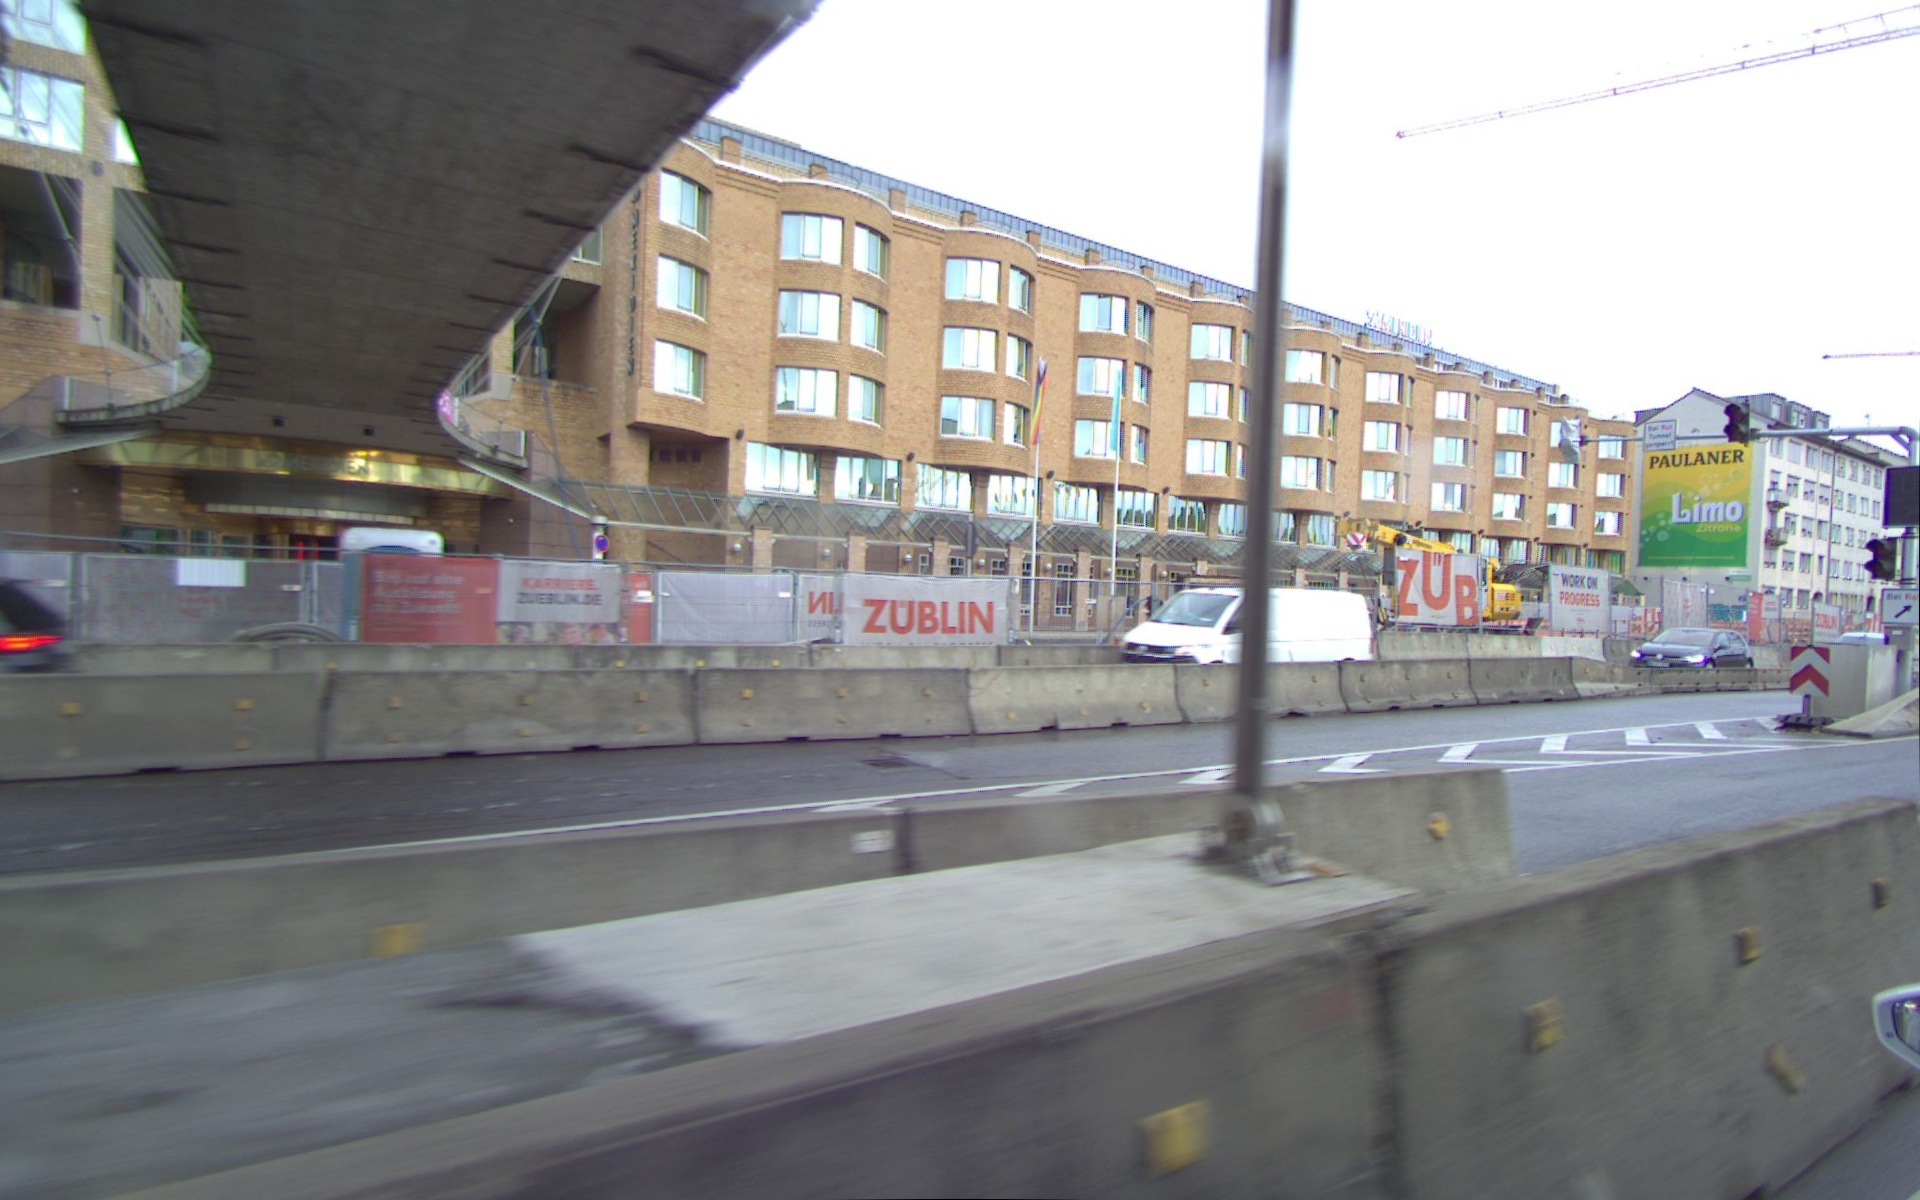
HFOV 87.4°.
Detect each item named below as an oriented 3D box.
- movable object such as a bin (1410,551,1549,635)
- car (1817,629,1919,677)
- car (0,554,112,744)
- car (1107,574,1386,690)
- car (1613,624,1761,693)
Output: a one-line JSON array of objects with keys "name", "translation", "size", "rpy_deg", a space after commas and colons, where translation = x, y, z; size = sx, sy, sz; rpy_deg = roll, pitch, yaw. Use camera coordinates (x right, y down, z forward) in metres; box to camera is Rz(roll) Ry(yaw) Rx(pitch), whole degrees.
[{"name": "movable object such as a bin", "translation": [15.495, -0.126, 29.916], "size": [4.252, 2.307, 2.012], "rpy_deg": [2, -3, -37]}, {"name": "car", "translation": [32.997, 1.902, 36.426], "size": [4.476, 1.570, 1.736], "rpy_deg": [2, 0, -34]}, {"name": "car", "translation": [-10.008, 0.381, 8.649], "size": [3.858, 1.645, 1.796], "rpy_deg": [1, 1, -31]}, {"name": "car", "translation": [5.277, 0.527, 18.218], "size": [5.241, 1.846, 1.796], "rpy_deg": [1, 1, -32]}, {"name": "car", "translation": [19.537, 1.516, 26.972], "size": [3.988, 1.645, 1.796], "rpy_deg": [1, 1, -31]}]
